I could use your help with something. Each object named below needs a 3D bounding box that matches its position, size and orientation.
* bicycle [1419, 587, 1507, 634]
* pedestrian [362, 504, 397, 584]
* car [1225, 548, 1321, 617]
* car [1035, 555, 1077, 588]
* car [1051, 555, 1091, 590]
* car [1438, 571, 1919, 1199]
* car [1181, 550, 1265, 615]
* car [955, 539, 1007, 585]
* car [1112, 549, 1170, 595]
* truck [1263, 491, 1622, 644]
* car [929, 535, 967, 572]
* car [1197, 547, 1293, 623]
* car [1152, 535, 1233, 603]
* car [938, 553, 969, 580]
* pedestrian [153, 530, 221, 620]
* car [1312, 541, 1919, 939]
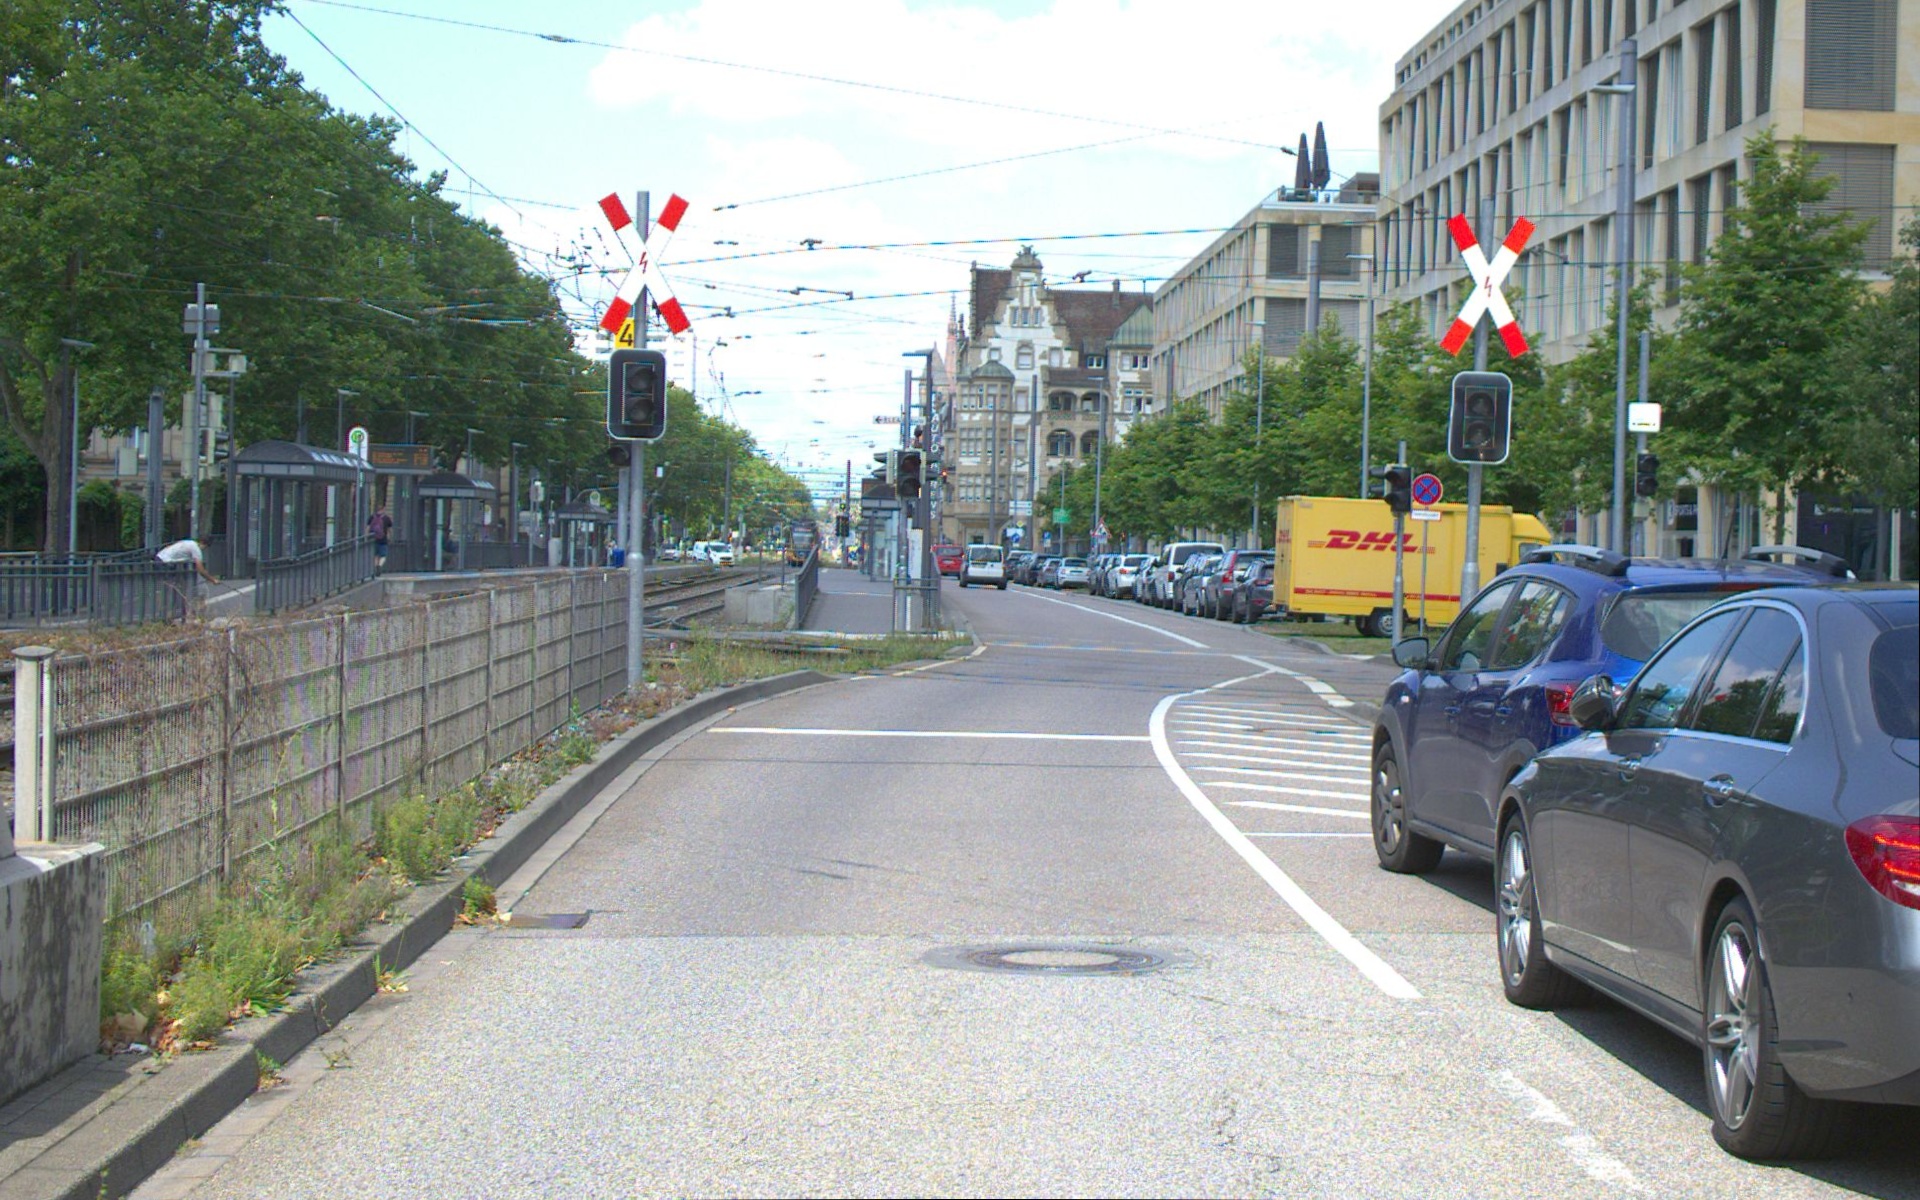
[{"bbox_3d":[11.308,0.241,77.304,1.841,0.953,0.520,3,0,-2],"label":"bicycle"},{"bbox_3d":[-13.451,-1.303,79.663,0.706,1.839,0.864,0,0,-3],"label":"pedestrian"},{"bbox_3d":[7.213,-0.422,79.527,1.691,1.499,4.068,2,1,-2],"label":"car"},{"bbox_3d":[4.621,-1.397,166.435,1.591,1.429,4.108,4,1,-4],"label":"car"},{"bbox_3d":[5.004,-1.240,155.130,1.591,1.455,3.613,3,1,-1],"label":"car"},{"bbox_3d":[2.734,0.682,10.047,1.816,1.449,4.991,1,1,-2],"label":"car"},{"bbox_3d":[6.859,-0.466,90.016,1.721,1.614,3.860,2,1,-2],"label":"car"},{"bbox_3d":[0.858,-1.568,141.516,1.868,1.740,4.000,3,1,-2],"label":"car"},{"bbox_3d":[6.437,-0.994,122.498,1.685,1.600,4.152,1,1,-2],"label":"car"},{"bbox_3d":[9.800,-0.651,70.220,6.805,2.857,2.455,2,0,-4],"label":"truck"},{"bbox_3d":[-0.683,-2.587,190.499,1.993,2.007,4.000,0,0,-1],"label":"car"},{"bbox_3d":[7.012,-0.392,85.033,1.769,1.761,4.840,2,1,-2],"label":"car"},{"bbox_3d":[6.829,-0.930,101.335,1.881,1.932,4.844,1,1,-2],"label":"car"},{"bbox_3d":[-0.379,-1.857,190.440,1.443,1.465,4.093,0,1,-3],"label":"car"},{"bbox_3d":[-11.585,-0.374,51.527,0.861,1.339,0.923,0,0,-4],"label":"pedestrian"},{"bbox_3d":[2.839,0.512,15.554,1.779,1.535,4.421,1,1,-3],"label":"car"}]
